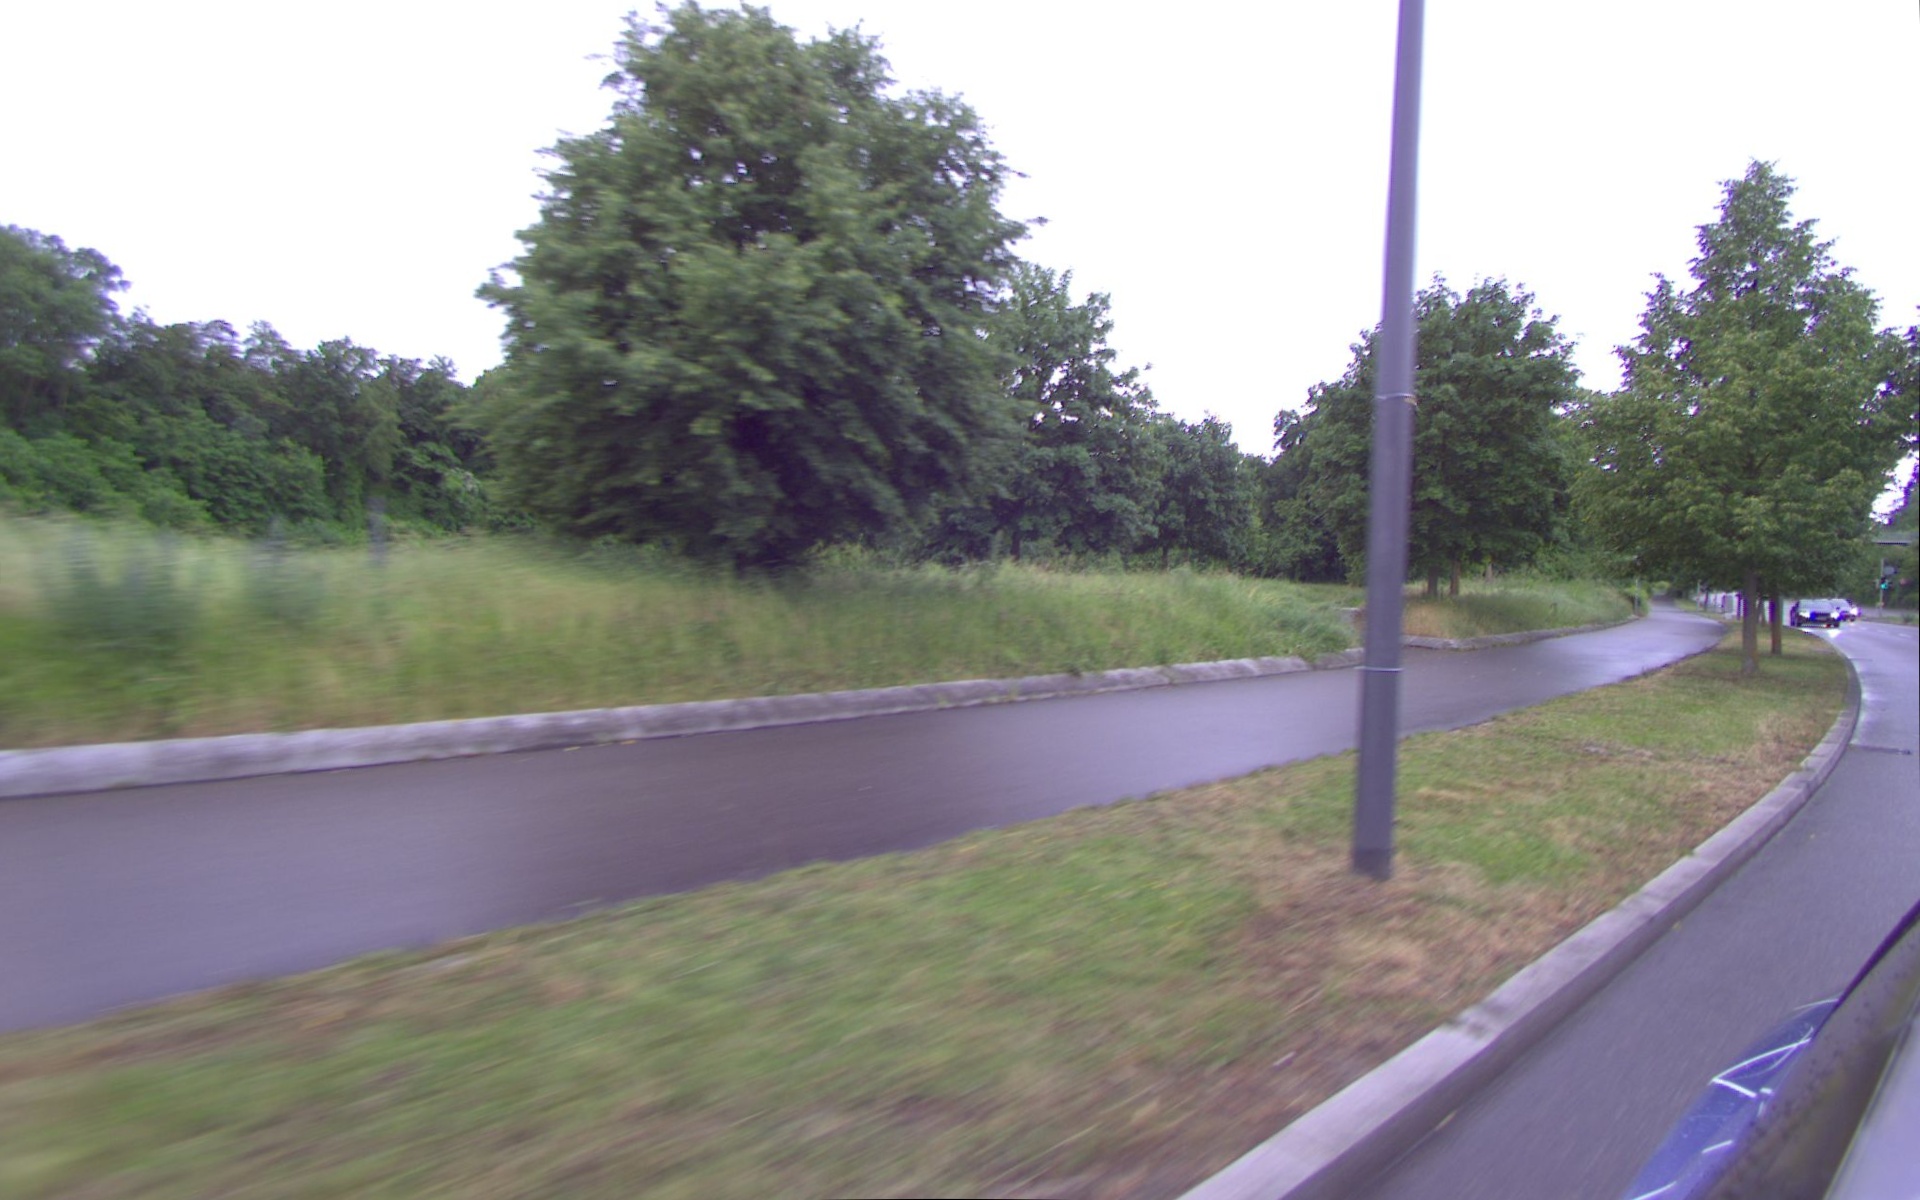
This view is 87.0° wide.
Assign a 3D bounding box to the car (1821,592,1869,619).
[{"bbox_3d":[58.487,0.333,66.940,1.813,1.575,3.953,1,2,33],"label":"car"}]

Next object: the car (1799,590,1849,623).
[{"bbox_3d":[46.055,0.318,54.014,1.816,1.575,3.946,1,2,38],"label":"car"}]
